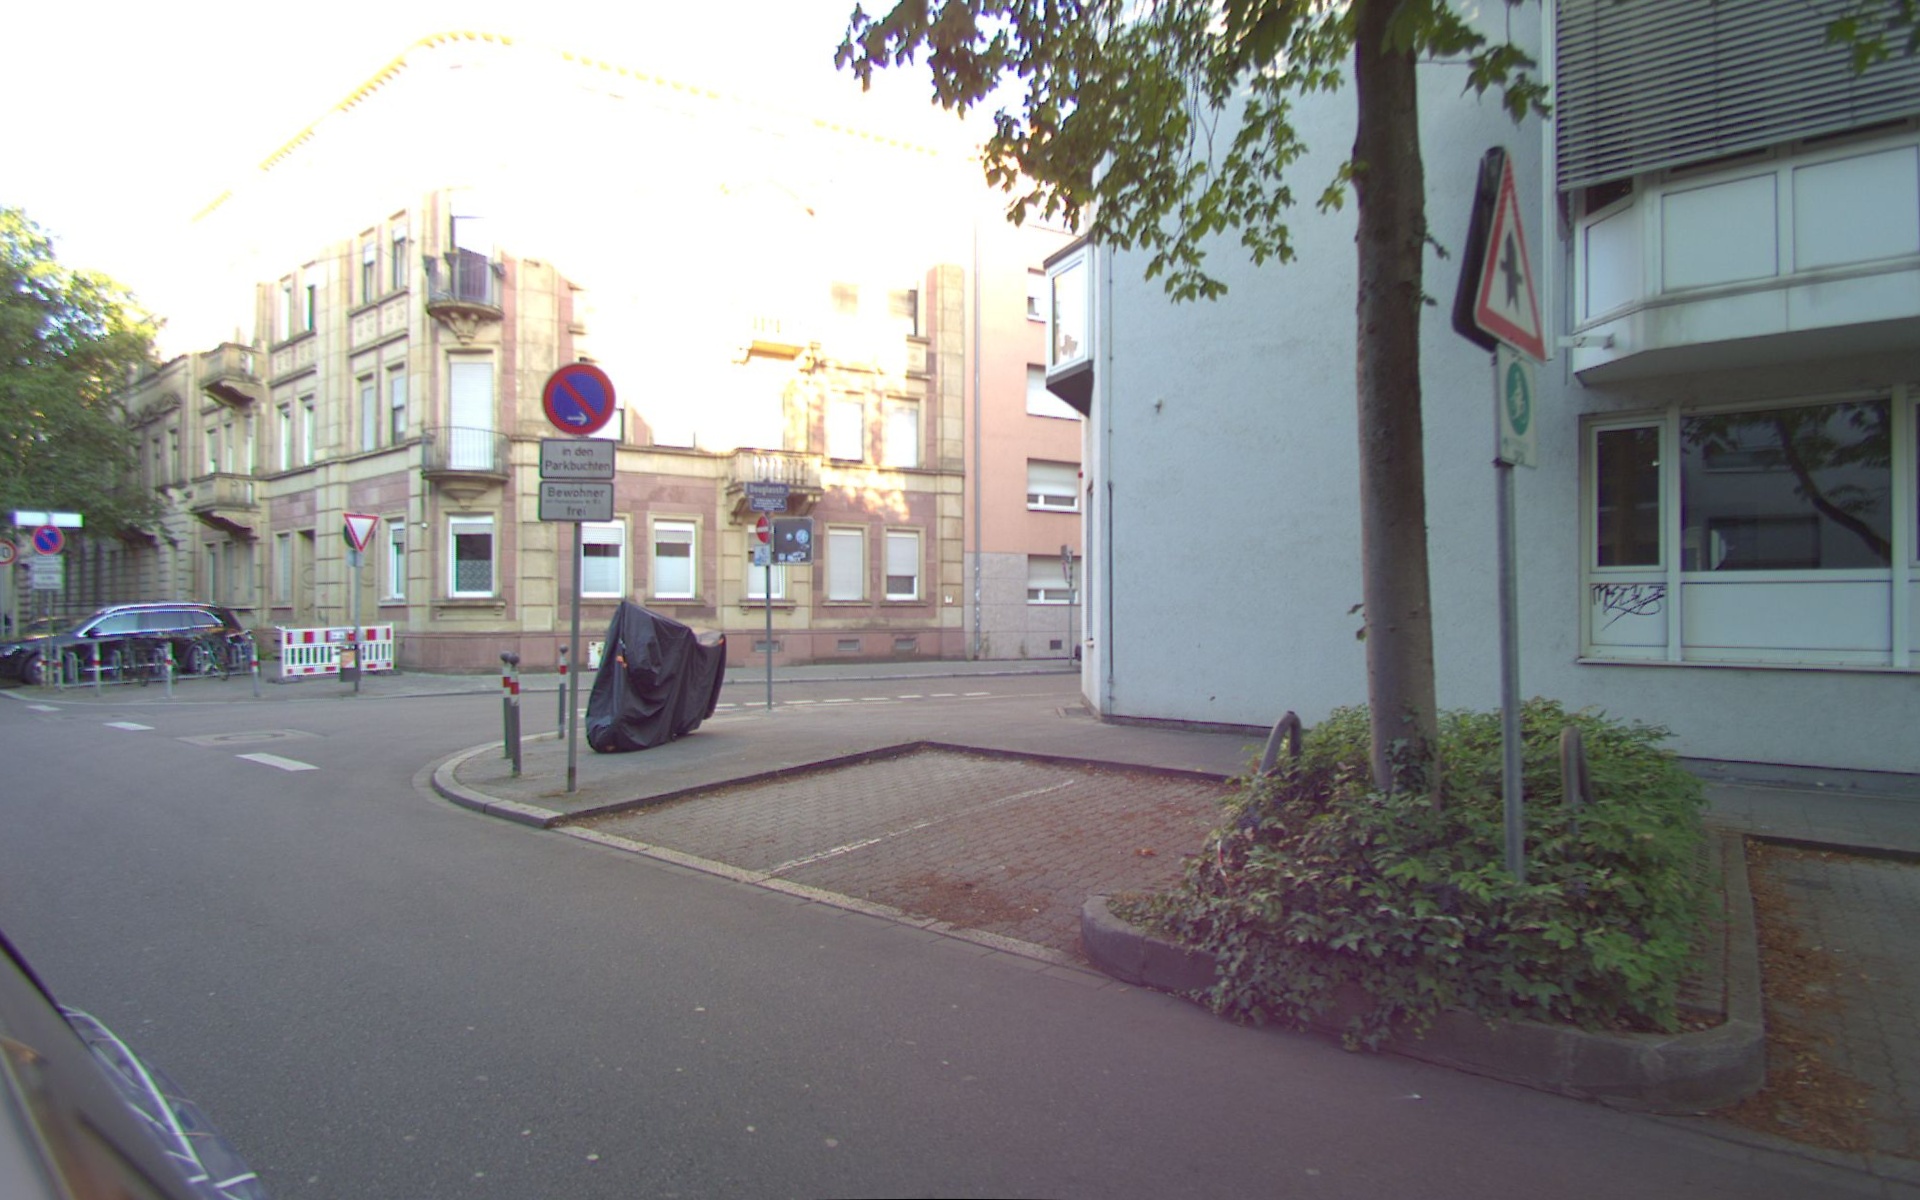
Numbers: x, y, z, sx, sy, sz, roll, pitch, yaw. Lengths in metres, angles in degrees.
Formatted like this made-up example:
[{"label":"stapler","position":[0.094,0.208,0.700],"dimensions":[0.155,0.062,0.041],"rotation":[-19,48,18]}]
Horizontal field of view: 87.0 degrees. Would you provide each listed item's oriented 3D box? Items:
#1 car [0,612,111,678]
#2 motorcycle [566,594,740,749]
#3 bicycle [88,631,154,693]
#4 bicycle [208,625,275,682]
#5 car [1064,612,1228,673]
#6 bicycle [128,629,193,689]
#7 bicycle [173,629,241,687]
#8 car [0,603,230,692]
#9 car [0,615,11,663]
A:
[{"label":"car","position":[-25.105,1.168,26.505],"dimensions":[1.742,1.690,4.186],"rotation":[-1,-1,42]},{"label":"motorcycle","position":[-3.284,0.723,11.119],"dimensions":[0.810,1.516,2.273],"rotation":[0,-1,13]},{"label":"bicycle","position":[-16.739,1.212,20.178],"dimensions":[2.036,1.159,0.555],"rotation":[-1,-1,37]},{"label":"bicycle","position":[-15.473,1.129,21.771],"dimensions":[2.035,1.159,0.555],"rotation":[-1,-1,36]},{"label":"car","position":[5.050,1.111,27.329],"dimensions":[4.295,1.529,1.790],"rotation":[1,-1,-33]},{"label":"bicycle","position":[-16.358,1.188,20.687],"dimensions":[2.036,1.159,0.555],"rotation":[-1,-1,37]},{"label":"bicycle","position":[-15.854,1.190,21.288],"dimensions":[2.035,1.159,0.555],"rotation":[-1,-1,36]},{"label":"car","position":[-18.934,0.998,22.256],"dimensions":[1.741,1.795,4.366],"rotation":[-1,-1,40]},{"label":"car","position":[-37.655,1.440,36.938],"dimensions":[1.740,1.773,4.191],"rotation":[-1,-1,39]}]
